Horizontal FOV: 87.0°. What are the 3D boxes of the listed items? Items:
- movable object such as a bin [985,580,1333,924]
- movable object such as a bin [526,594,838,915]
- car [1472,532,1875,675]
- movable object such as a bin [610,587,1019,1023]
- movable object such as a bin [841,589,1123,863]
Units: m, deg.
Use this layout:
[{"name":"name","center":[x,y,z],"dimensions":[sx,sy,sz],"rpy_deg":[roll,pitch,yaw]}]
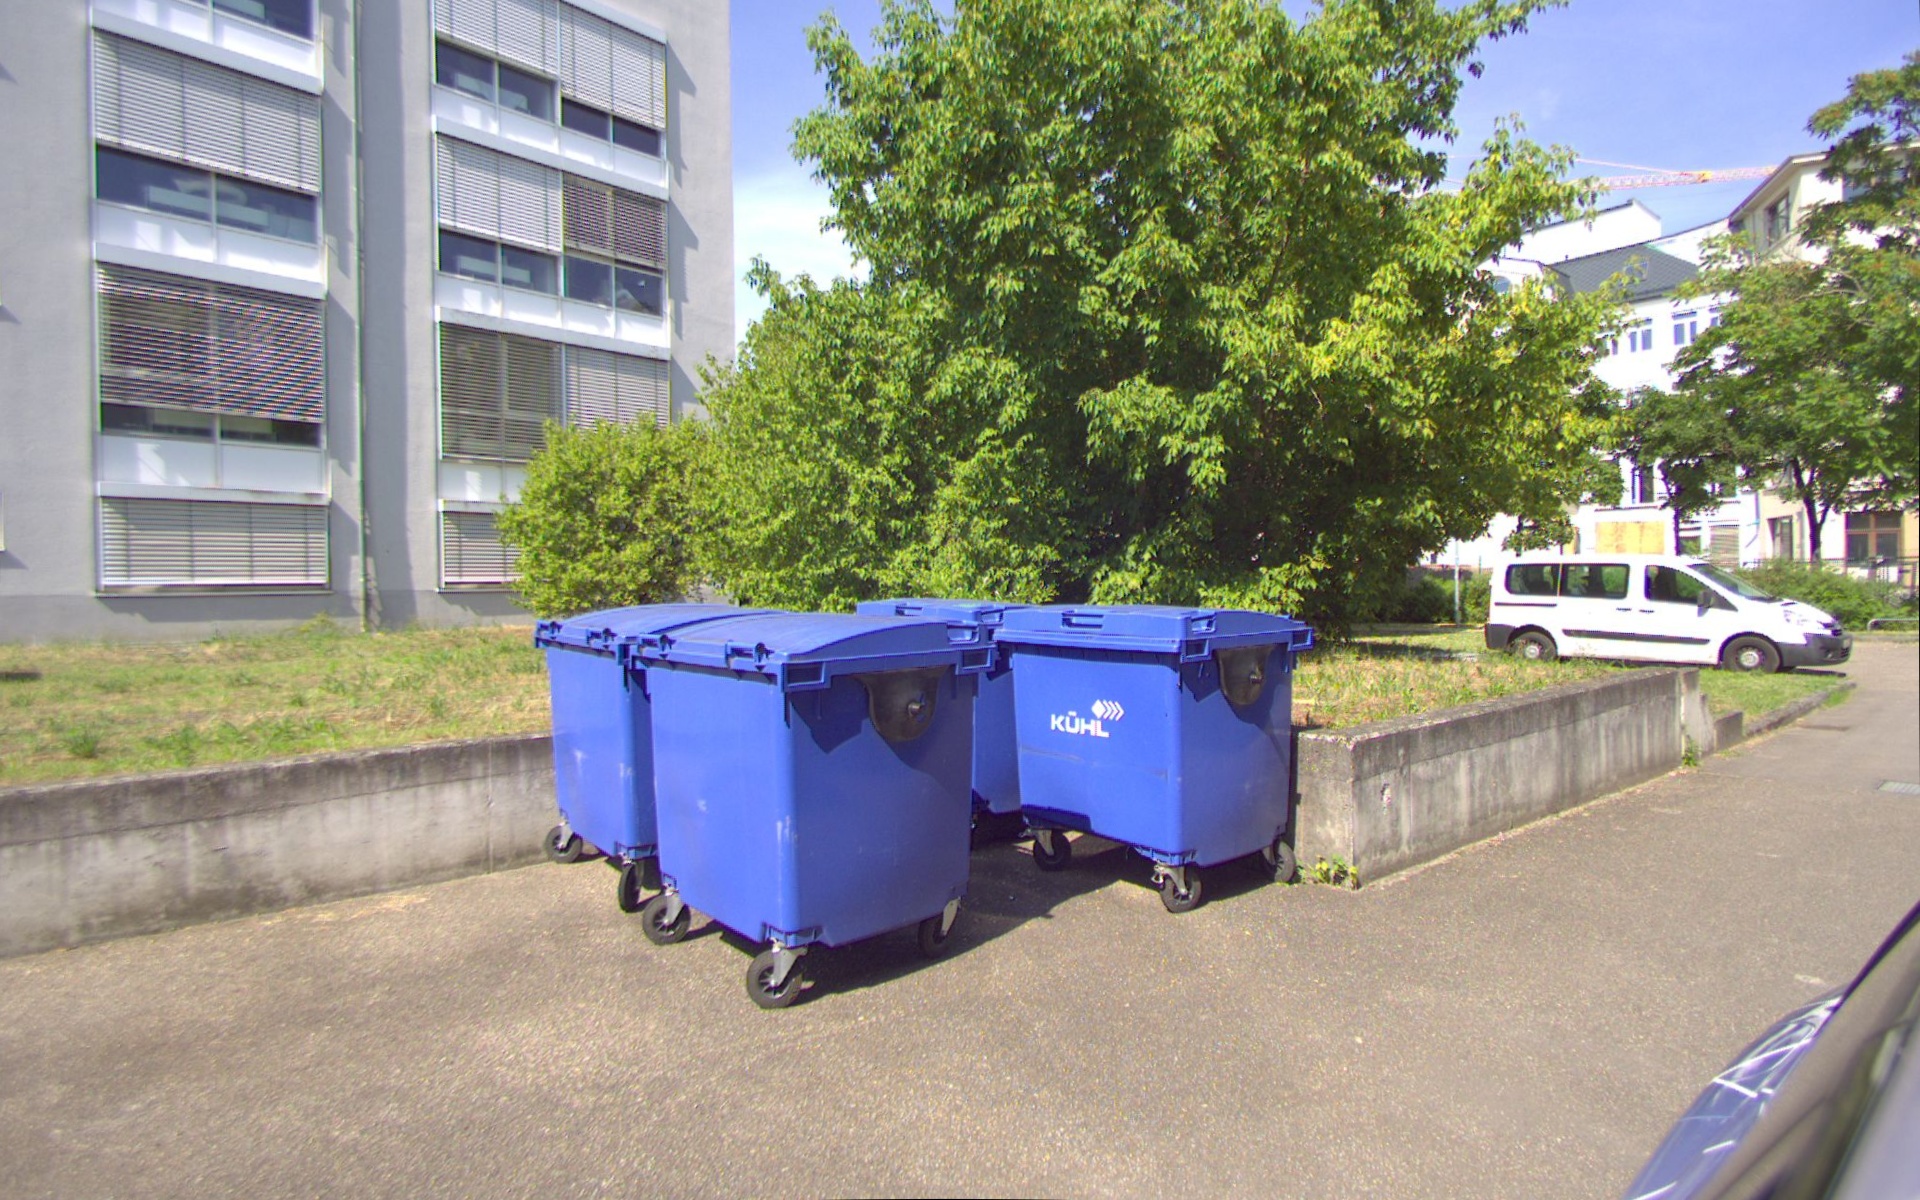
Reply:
[{"name":"movable object such as a bin","center":[0.952,0.608,4.962],"dimensions":[1.122,1.335,1.251],"rpy_deg":[-3,4,-38]},{"name":"movable object such as a bin","center":[-1.425,0.663,5.175],"dimensions":[1.123,1.353,1.156],"rpy_deg":[-2,1,-43]},{"name":"car","center":[11.362,0.025,16.500],"dimensions":[1.964,1.957,5.035],"rpy_deg":[-1,1,-39]},{"name":"movable object such as a bin","center":[-0.597,0.643,4.062],"dimensions":[1.110,1.372,1.248],"rpy_deg":[-2,1,-43]},{"name":"movable object such as a bin","center":[0.108,0.626,5.946],"dimensions":[1.121,1.357,1.250],"rpy_deg":[-1,1,-37]}]
